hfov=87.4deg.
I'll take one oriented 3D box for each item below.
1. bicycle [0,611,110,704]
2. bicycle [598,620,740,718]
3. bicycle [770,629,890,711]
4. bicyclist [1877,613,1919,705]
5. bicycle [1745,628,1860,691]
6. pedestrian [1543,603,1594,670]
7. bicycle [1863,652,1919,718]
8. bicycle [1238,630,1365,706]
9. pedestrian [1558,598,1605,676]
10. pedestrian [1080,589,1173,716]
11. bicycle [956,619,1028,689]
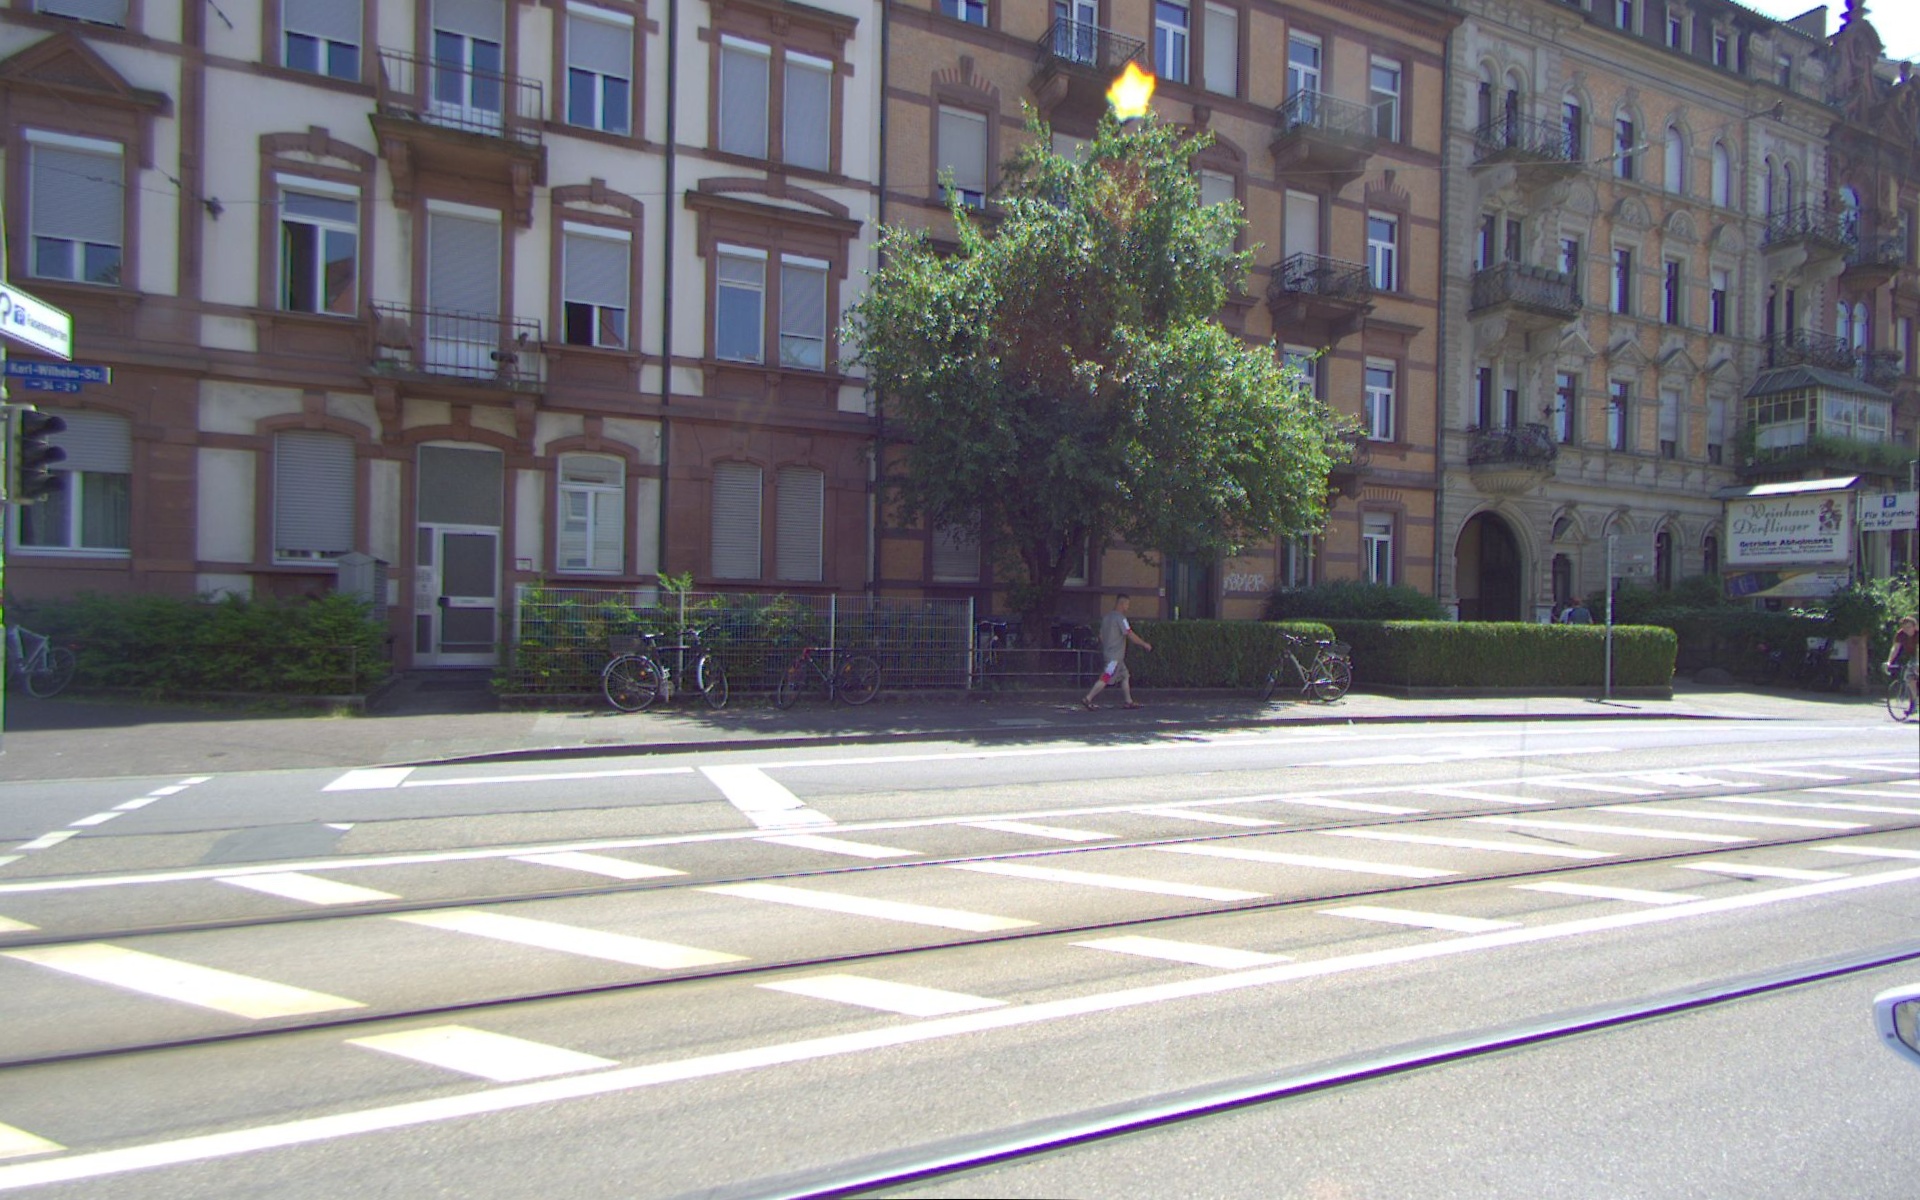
[{"bbox_3d":[-11.884,0.718,12.903,1.885,1.122,0.467,1,0,15],"label":"bicycle"},{"bbox_3d":[-3.700,0.863,12.791,1.690,1.184,0.572,1,0,-21],"label":"bicycle"},{"bbox_3d":[-1.765,0.939,13.669,1.541,1.070,0.458,1,0,-21],"label":"bicycle"},{"bbox_3d":[16.261,0.992,17.155,0.879,1.536,0.561,1,0,-23],"label":"bicyclist"},{"bbox_3d":[18.635,1.295,22.267,0.561,1.244,1.864,1,1,-25],"label":"bicycle"},{"bbox_3d":[16.137,0.961,26.656,0.807,1.723,0.911,1,0,4],"label":"pedestrian"},{"bbox_3d":[16.288,1.434,17.171,1.803,1.052,0.566,1,-1,-23],"label":"bicycle"},{"bbox_3d":[5.413,1.066,15.918,1.902,1.108,0.637,1,2,-21],"label":"bicycle"},{"bbox_3d":[15.514,0.914,25.103,0.800,1.882,0.878,1,0,19],"label":"pedestrian"},{"bbox_3d":[2.347,0.719,14.198,0.997,1.723,0.871,1,0,-17],"label":"pedestrian"},{"bbox_3d":[0.471,0.809,15.546,0.488,1.009,1.643,1,0,-21],"label":"bicycle"}]
